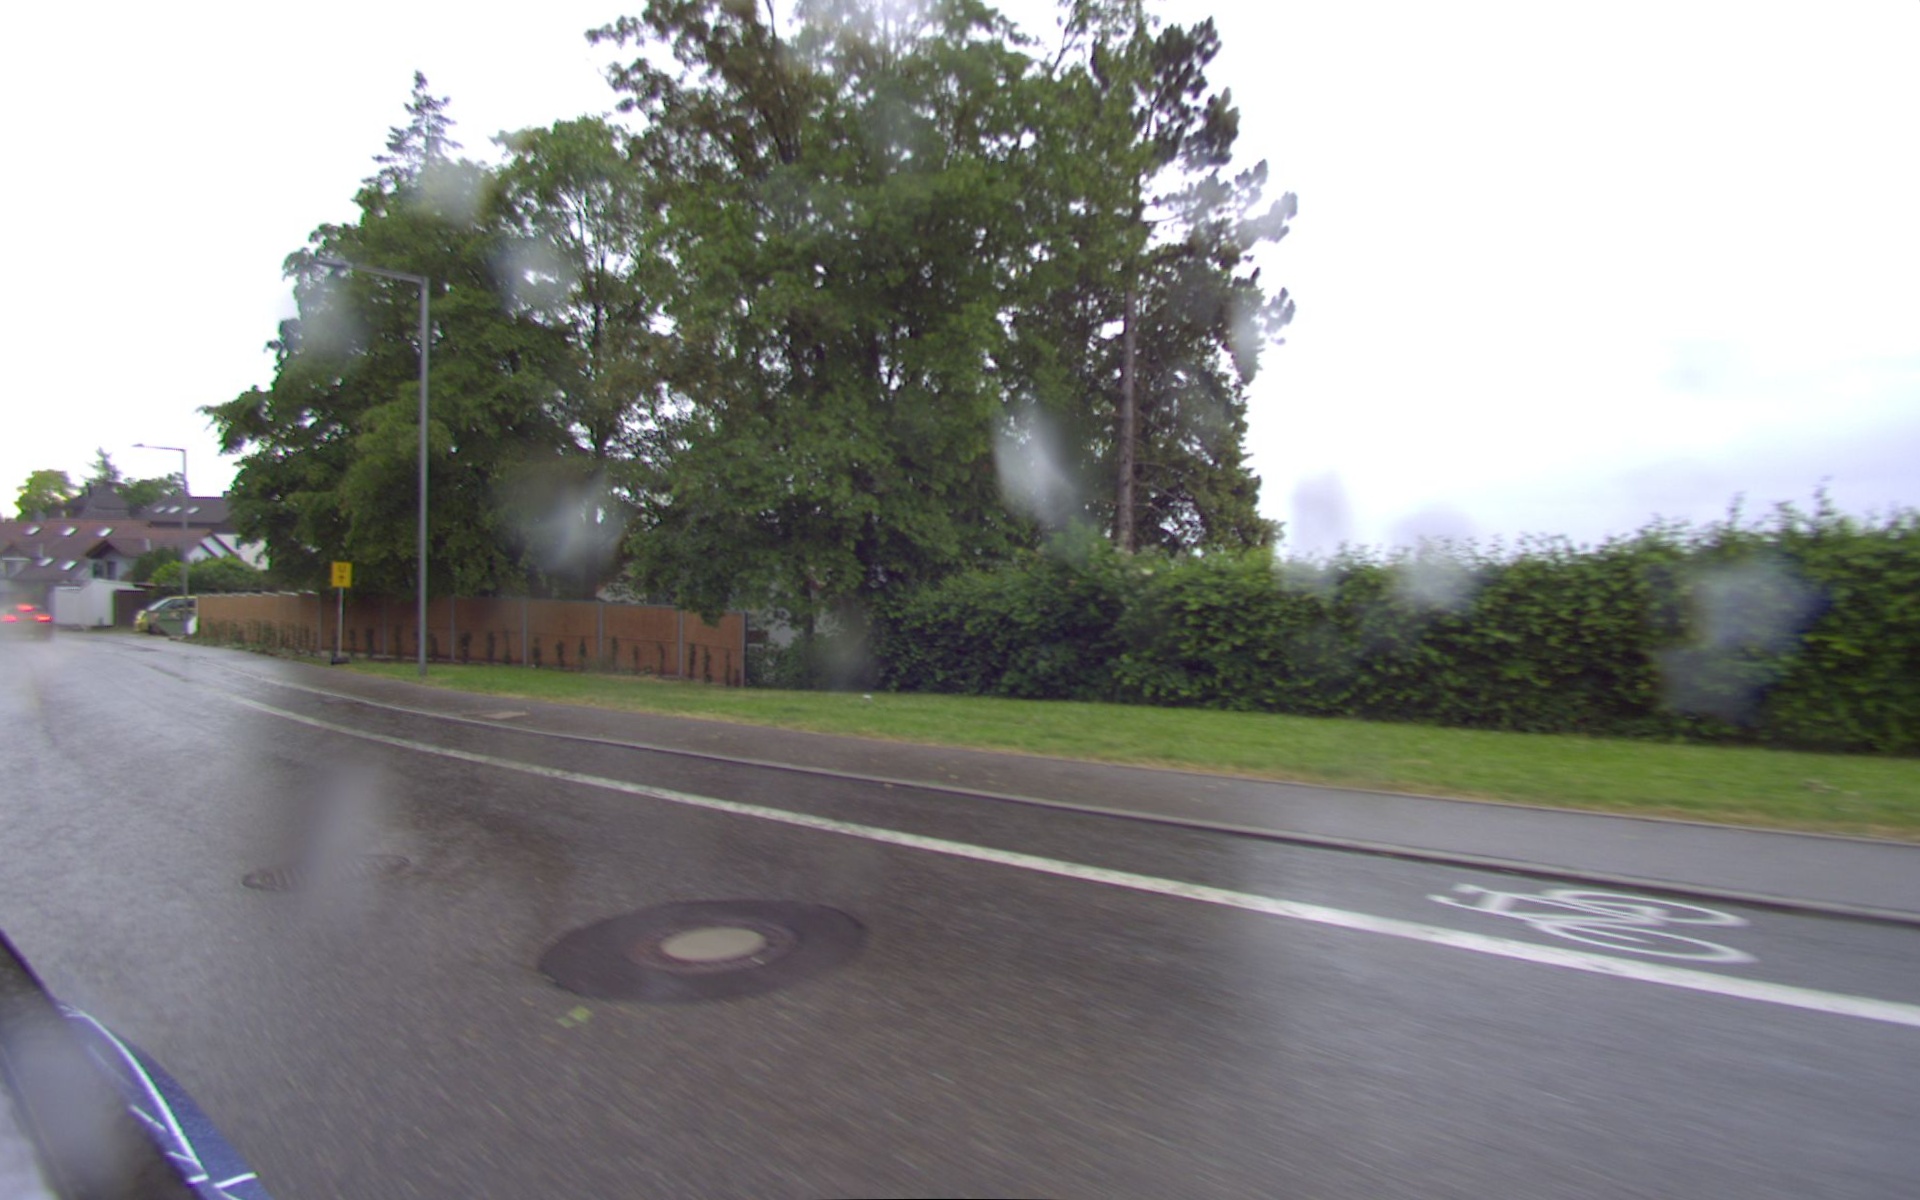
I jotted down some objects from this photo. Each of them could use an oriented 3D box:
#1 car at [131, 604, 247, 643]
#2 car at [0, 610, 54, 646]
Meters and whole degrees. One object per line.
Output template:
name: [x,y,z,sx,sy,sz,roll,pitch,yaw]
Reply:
car: [-39.112,1.148,51.401,2.090,1.874,4.453,-1,-1,43]
car: [-45.078,1.296,48.688,4.548,1.660,1.897,-1,-1,44]
